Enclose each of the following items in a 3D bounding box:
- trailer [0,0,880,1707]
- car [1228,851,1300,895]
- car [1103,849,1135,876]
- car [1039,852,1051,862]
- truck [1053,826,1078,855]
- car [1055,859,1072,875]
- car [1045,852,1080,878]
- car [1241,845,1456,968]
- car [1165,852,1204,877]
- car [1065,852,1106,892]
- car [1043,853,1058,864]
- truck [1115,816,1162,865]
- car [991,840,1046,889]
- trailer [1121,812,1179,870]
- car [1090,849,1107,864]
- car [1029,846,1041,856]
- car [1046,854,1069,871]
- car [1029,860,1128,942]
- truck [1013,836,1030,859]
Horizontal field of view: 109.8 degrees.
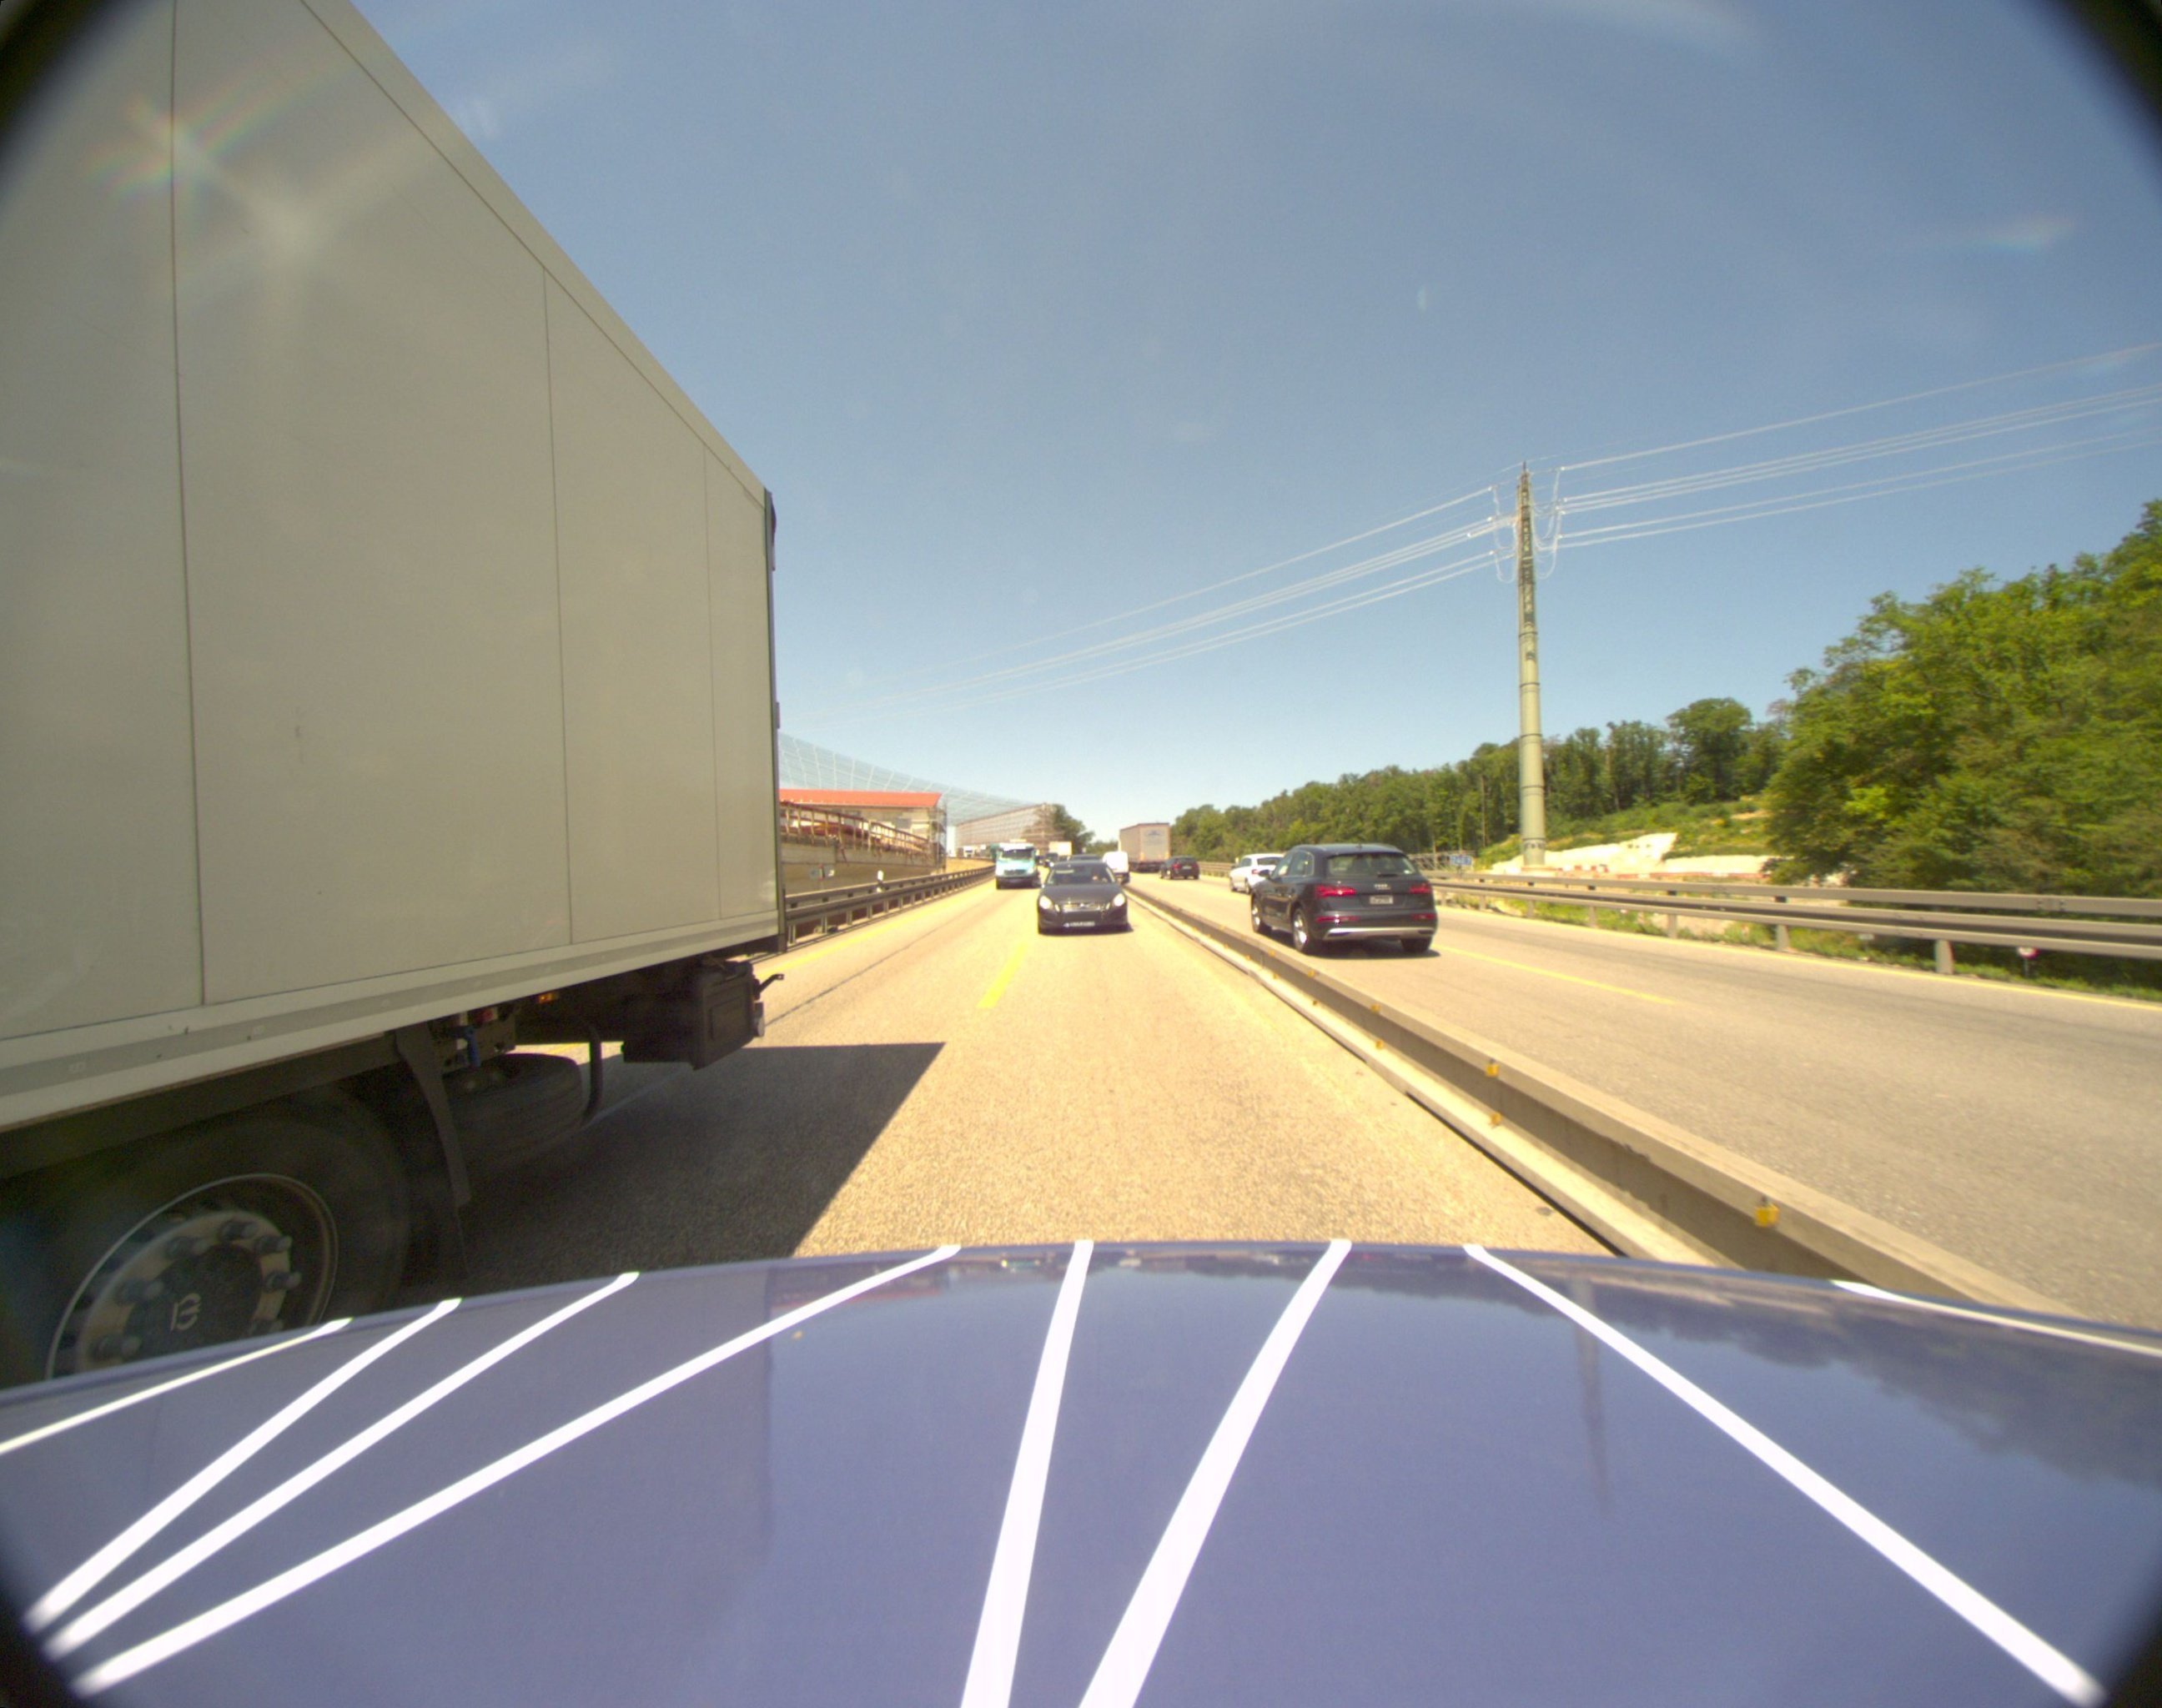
[{"bbox_3d":[-3.209,-0.288,1.200,2.538,4.103,11.546,-3,1,0],"label":"trailer"},{"bbox_3d":[6.727,0.652,28.335,1.704,1.484,3.999,-1,1,0],"label":"car"},{"bbox_3d":[2.655,0.538,53.882,1.865,1.762,4.231,-3,1,-2],"label":"car"},{"bbox_3d":[-5.277,0.478,112.115,1.647,1.366,3.344,-3,1,-1],"label":"car"},{"bbox_3d":[-3.271,-2.688,154.086,3.567,5.334,16.084,-3,1,-5],"label":"truck"},{"bbox_3d":[-1.791,1.289,76.519,1.647,1.366,3.343,-3,1,-3],"label":"car"},{"bbox_3d":[-1.303,0.746,54.082,2.297,1.601,4.664,-3,1,-1],"label":"car"},{"bbox_3d":[4.053,0.678,12.416,1.922,1.586,4.527,-2,1,0],"label":"car"},{"bbox_3d":[6.281,0.622,46.508,1.781,1.420,4.303,-1,1,0],"label":"car"},{"bbox_3d":[0.255,0.745,33.191,1.519,1.543,3.861,-2,1,4],"label":"car"},{"bbox_3d":[-3.893,0.570,95.847,1.647,1.366,3.343,-3,1,-5],"label":"car"},{"bbox_3d":[5.518,-1.241,73.843,3.406,4.396,7.272,-3,1,-4],"label":"truck"},{"bbox_3d":[-3.146,0.470,39.850,2.217,2.312,6.901,-2,1,0],"label":"car"},{"bbox_3d":[5.837,-1.100,67.202,3.498,4.460,12.922,-3,1,-1],"label":"trailer"},{"bbox_3d":[1.840,0.245,80.459,1.720,1.543,3.860,-3,1,0],"label":"car"},{"bbox_3d":[-11.943,-0.760,197.294,2.916,2.425,7.371,-3,1,-2],"label":"car"},{"bbox_3d":[-2.068,0.734,67.325,1.646,1.366,3.345,-3,1,4],"label":"car"},{"bbox_3d":[-0.041,0.913,16.758,1.844,1.475,4.563,-2,0,0],"label":"car"},{"bbox_3d":[-9.801,-1.081,125.575,2.471,3.464,9.863,-3,1,-4],"label":"truck"}]
